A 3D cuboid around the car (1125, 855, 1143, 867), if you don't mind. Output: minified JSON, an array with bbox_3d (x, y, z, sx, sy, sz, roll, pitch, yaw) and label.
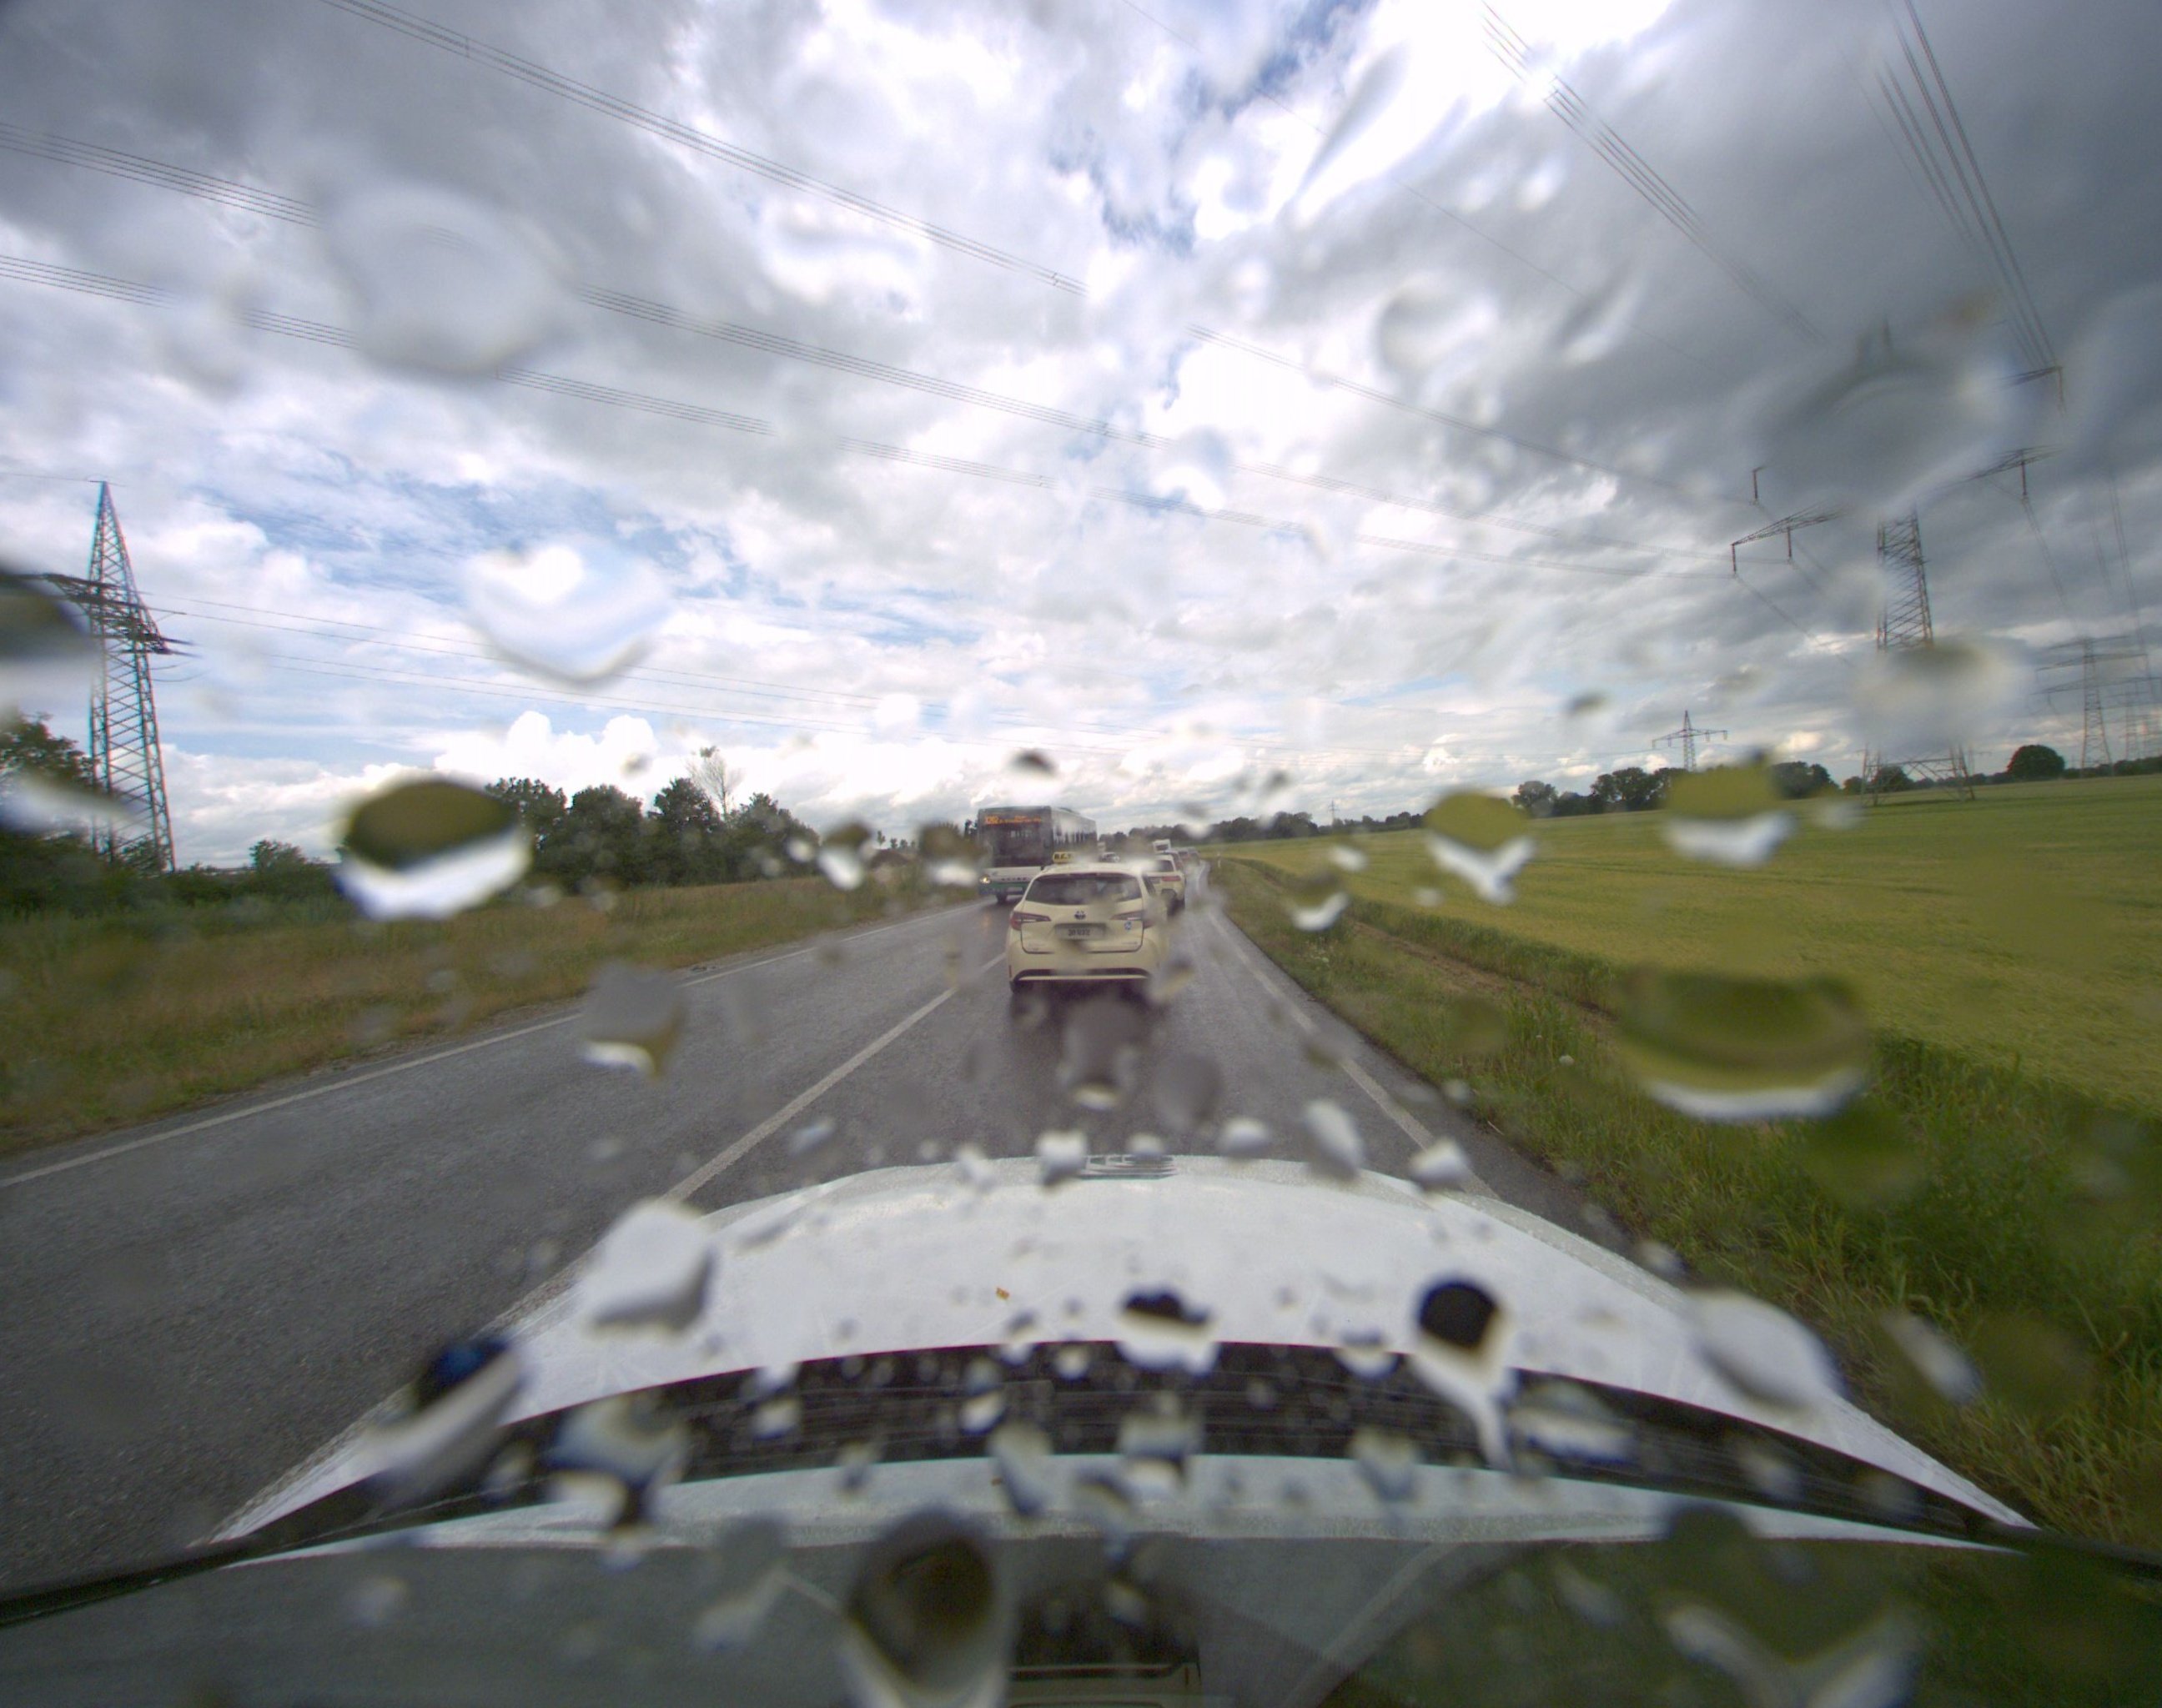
[{"bbox_3d":[6.500,0.839,100.408,1.838,1.388,4.286,-1,0,0],"label":"car"}]

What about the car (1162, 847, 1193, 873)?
[{"bbox_3d":[5.561,0.370,46.689,1.603,1.413,3.748,-1,-1,9],"label":"car"}]

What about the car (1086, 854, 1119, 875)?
[{"bbox_3d":[1.368,0.659,50.138,1.711,1.251,4.005,-1,-1,5],"label":"car"}]

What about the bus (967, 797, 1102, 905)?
[{"bbox_3d":[-1.297,-0.108,31.646,2.742,3.298,12.531,-1,0,8],"label":"bus"}]

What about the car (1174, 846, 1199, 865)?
[{"bbox_3d":[8.594,0.122,66.399,1.949,1.413,4.401,-1,-1,8],"label":"car"}]

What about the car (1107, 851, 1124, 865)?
[{"bbox_3d":[4.893,0.562,115.902,1.842,1.855,4.437,-1,0,-6],"label":"car"}]

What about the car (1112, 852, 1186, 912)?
[{"bbox_3d":[2.019,0.705,22.988,1.831,1.492,4.617,-1,0,7],"label":"car"}]

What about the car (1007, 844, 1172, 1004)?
[{"bbox_3d":[0.265,0.729,9.883,1.605,1.562,3.744,-1,-1,6],"label":"car"}]

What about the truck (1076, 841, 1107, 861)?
[{"bbox_3d":[1.779,-0.424,140.192,3.021,3.209,8.183,-1,-1,-17],"label":"truck"}]

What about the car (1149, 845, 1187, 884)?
[{"bbox_3d":[3.990,0.498,37.141,1.604,1.659,3.744,-1,-1,6],"label":"car"}]

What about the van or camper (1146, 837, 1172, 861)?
[{"bbox_3d":[10.226,-0.641,107.390,2.530,2.896,6.738,-1,0,-2],"label":"van or camper"}]
